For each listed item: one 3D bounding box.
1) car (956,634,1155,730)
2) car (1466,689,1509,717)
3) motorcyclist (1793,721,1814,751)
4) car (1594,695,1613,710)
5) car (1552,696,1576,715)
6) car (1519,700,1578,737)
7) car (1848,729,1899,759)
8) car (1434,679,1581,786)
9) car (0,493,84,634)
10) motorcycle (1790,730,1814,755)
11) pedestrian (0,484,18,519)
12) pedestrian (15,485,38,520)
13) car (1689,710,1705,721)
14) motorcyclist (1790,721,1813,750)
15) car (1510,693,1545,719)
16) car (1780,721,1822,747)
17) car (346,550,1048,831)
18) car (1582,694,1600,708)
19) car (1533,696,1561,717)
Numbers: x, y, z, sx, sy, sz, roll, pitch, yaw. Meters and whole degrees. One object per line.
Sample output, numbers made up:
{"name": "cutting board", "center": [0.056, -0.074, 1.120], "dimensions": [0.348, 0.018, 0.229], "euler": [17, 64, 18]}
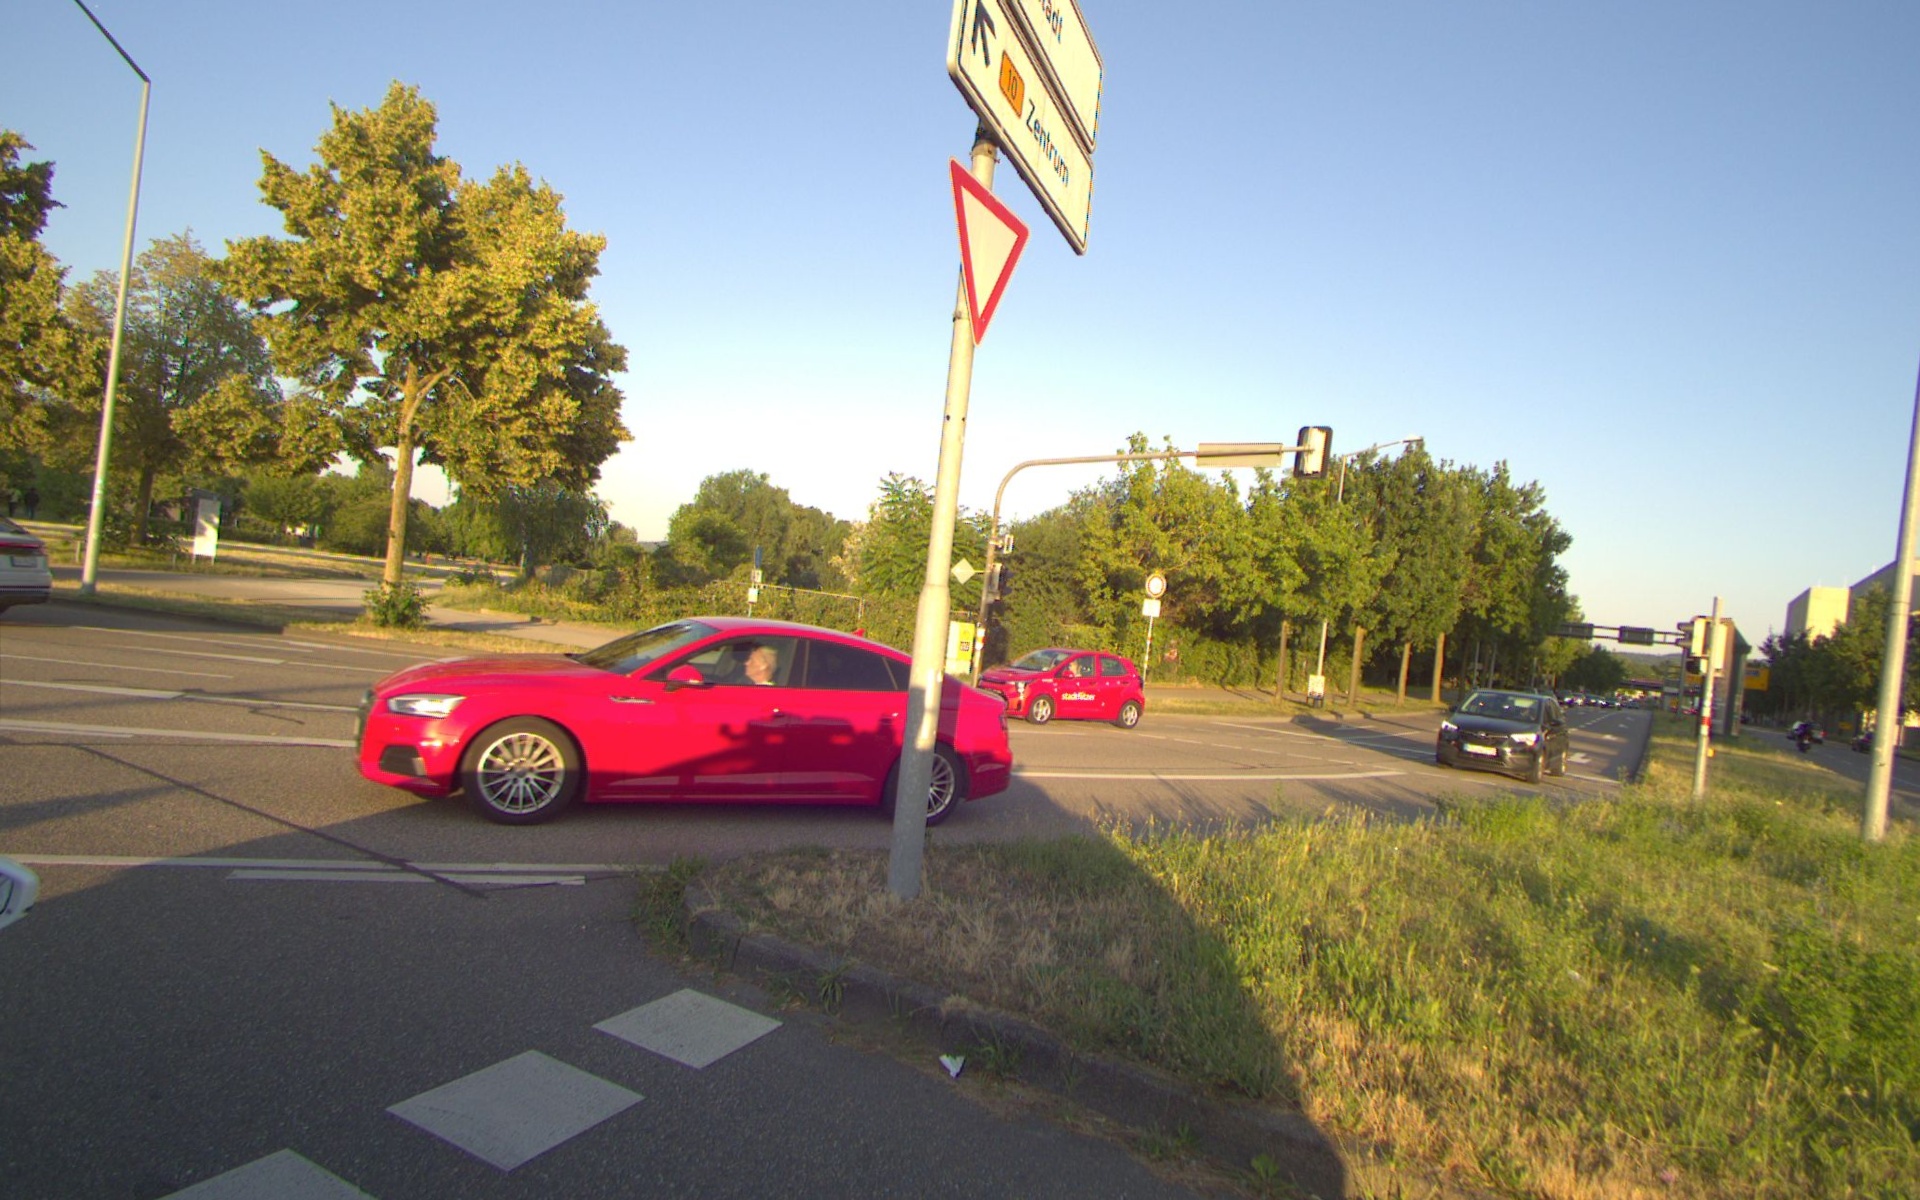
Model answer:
{"name": "car", "center": [1.922, 1.631, 19.769], "dimensions": [3.604, 1.500, 1.709], "euler": [8, -2, -38]}
{"name": "car", "center": [29.745, 5.804, 56.653], "dimensions": [1.594, 1.324, 3.707], "euler": [5, -2, 35]}
{"name": "motorcyclist", "center": [44.116, 7.099, 52.615], "dimensions": [0.626, 1.425, 0.593], "euler": [7, 0, 33]}
{"name": "car", "center": [73.007, 11.649, 114.142], "dimensions": [1.594, 1.471, 3.707], "euler": [5, -2, 35]}
{"name": "car", "center": [58.228, 10.190, 96.977], "dimensions": [1.594, 1.536, 3.707], "euler": [5, -2, 35]}
{"name": "car", "center": [26.077, 5.219, 44.532], "dimensions": [1.847, 1.324, 4.128], "euler": [5, -2, 35]}
{"name": "car", "center": [60.107, 9.471, 66.274], "dimensions": [1.774, 1.482, 3.989], "euler": [7, 0, 34]}
{"name": "car", "center": [10.583, 2.514, 19.294], "dimensions": [1.697, 1.631, 4.122], "euler": [5, -2, 38]}
{"name": "car", "center": [-14.318, -0.784, 12.343], "dimensions": [4.868, 1.730, 1.907], "euler": [8, -1, -17]}
{"name": "motorcycle", "center": [44.202, 7.466, 52.825], "dimensions": [0.549, 1.114, 2.155], "euler": [7, -1, 33]}
{"name": "pedestrian", "center": [-47.060, -4.873, 49.634], "dimensions": [0.525, 1.646, 0.578], "euler": [7, 0, -20]}
{"name": "pedestrian", "center": [-46.557, -4.852, 50.195], "dimensions": [0.523, 1.646, 0.617], "euler": [7, 0, -23]}
{"name": "car", "center": [123.880, 19.363, 169.204], "dimensions": [1.789, 1.543, 4.124], "euler": [7, 0, 34]}
{"name": "motorcyclist", "center": [44.467, 7.160, 53.165], "dimensions": [0.677, 1.433, 0.713], "euler": [7, 0, 33]}
{"name": "car", "center": [38.552, 7.208, 68.303], "dimensions": [1.594, 1.536, 3.707], "euler": [5, -2, 35]}
{"name": "car", "center": [61.790, 9.822, 73.958], "dimensions": [1.774, 1.440, 4.437], "euler": [7, 0, 34]}
{"name": "car", "center": [-1.773, 0.726, 7.382], "dimensions": [4.537, 1.477, 1.830], "euler": [9, -1, -33]}
{"name": "car", "center": [79.133, 12.676, 126.147], "dimensions": [1.594, 1.471, 3.707], "euler": [5, -2, 35]}
{"name": "car", "center": [48.158, 8.733, 82.518], "dimensions": [1.594, 1.536, 3.707], "euler": [5, -2, 35]}
